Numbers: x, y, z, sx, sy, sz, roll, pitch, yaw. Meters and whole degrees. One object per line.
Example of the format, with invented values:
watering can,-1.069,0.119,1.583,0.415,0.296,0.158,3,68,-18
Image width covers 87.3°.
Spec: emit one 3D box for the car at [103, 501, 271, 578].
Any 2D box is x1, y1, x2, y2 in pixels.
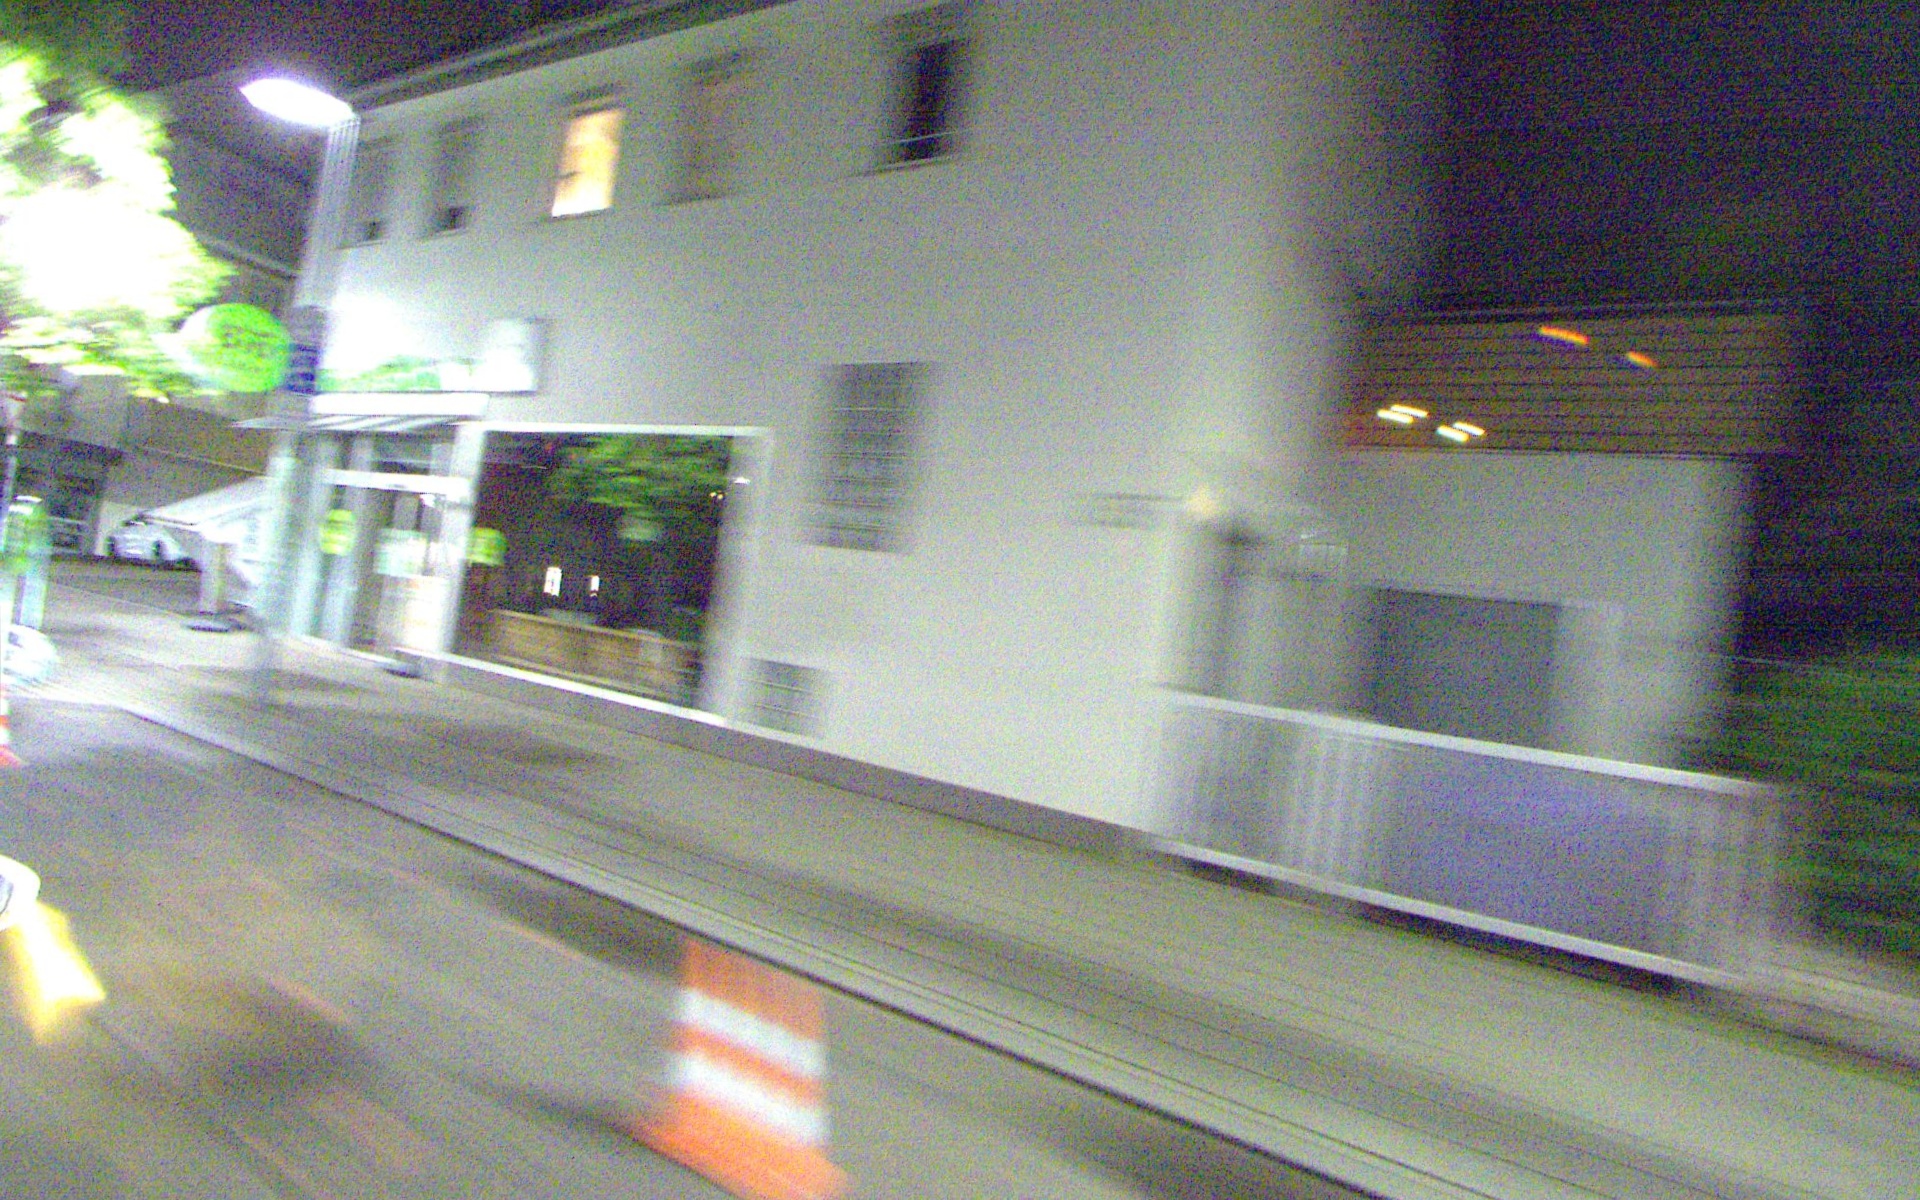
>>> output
car,-18.491,-1.455,24.041,3.989,1.479,1.805,5,1,31
